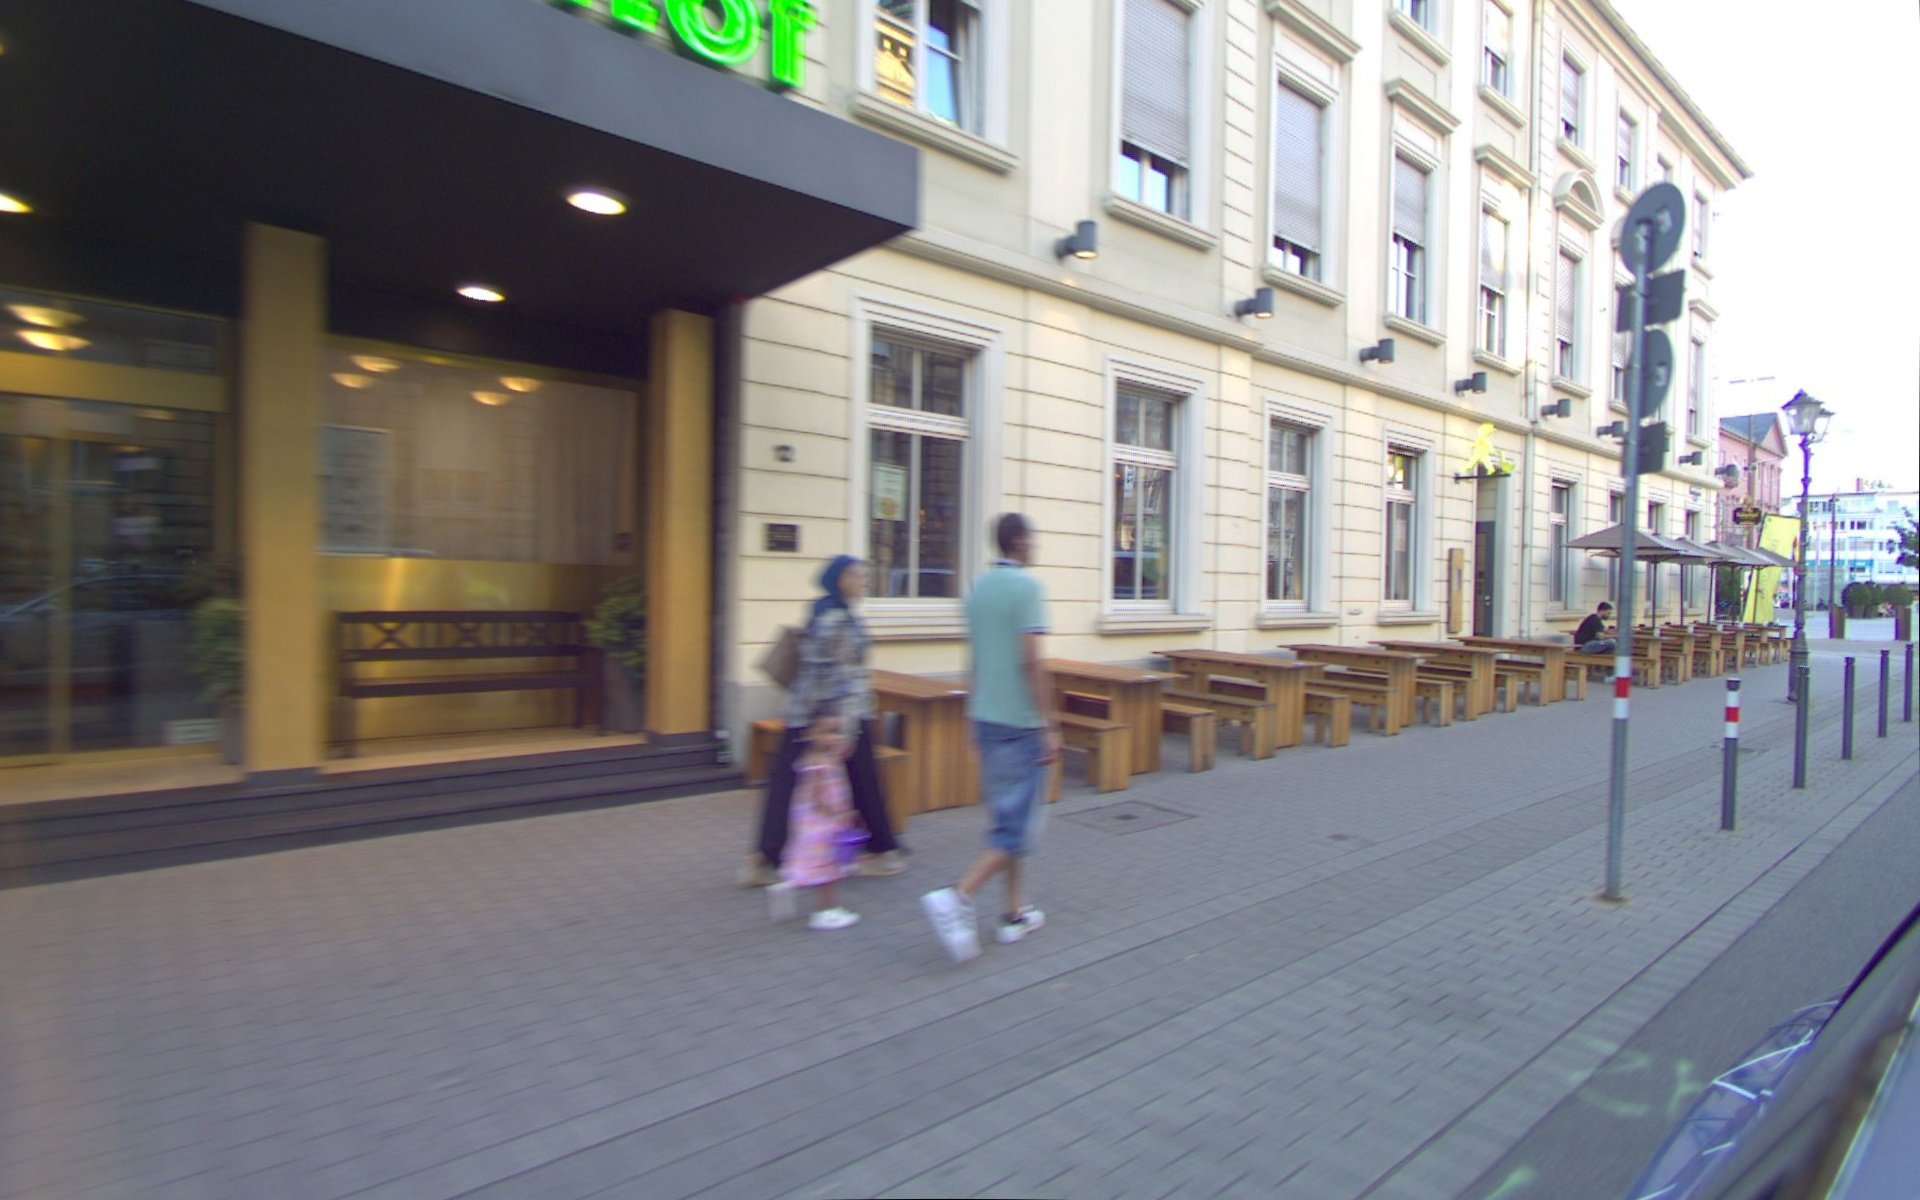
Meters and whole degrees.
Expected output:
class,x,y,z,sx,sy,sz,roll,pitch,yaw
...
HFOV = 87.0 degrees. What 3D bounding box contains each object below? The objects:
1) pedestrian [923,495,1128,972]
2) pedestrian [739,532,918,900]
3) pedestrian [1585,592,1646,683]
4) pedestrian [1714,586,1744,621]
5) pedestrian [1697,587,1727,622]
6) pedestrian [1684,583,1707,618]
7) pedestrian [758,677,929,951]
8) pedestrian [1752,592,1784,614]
class,x,y,z,sx,sy,sz,roll,pitch,yaw
pedestrian,0.259,0.483,4.127,0.548,1.751,0.608,0,1,-39
pedestrian,-0.639,0.502,4.888,0.604,1.621,0.631,0,1,-39
pedestrian,10.428,0.574,16.109,0.771,1.376,0.715,1,1,33
pedestrian,33.007,0.161,43.445,0.572,1.466,0.832,1,1,-10
pedestrian,32.212,0.201,43.366,0.572,1.466,0.832,1,1,-8
pedestrian,31.389,0.024,43.211,0.577,1.466,0.825,1,1,21
pedestrian,-0.492,0.856,4.270,0.548,0.992,0.461,0,1,-39
pedestrian,48.609,0.146,60.888,1.397,1.278,1.310,2,1,37
